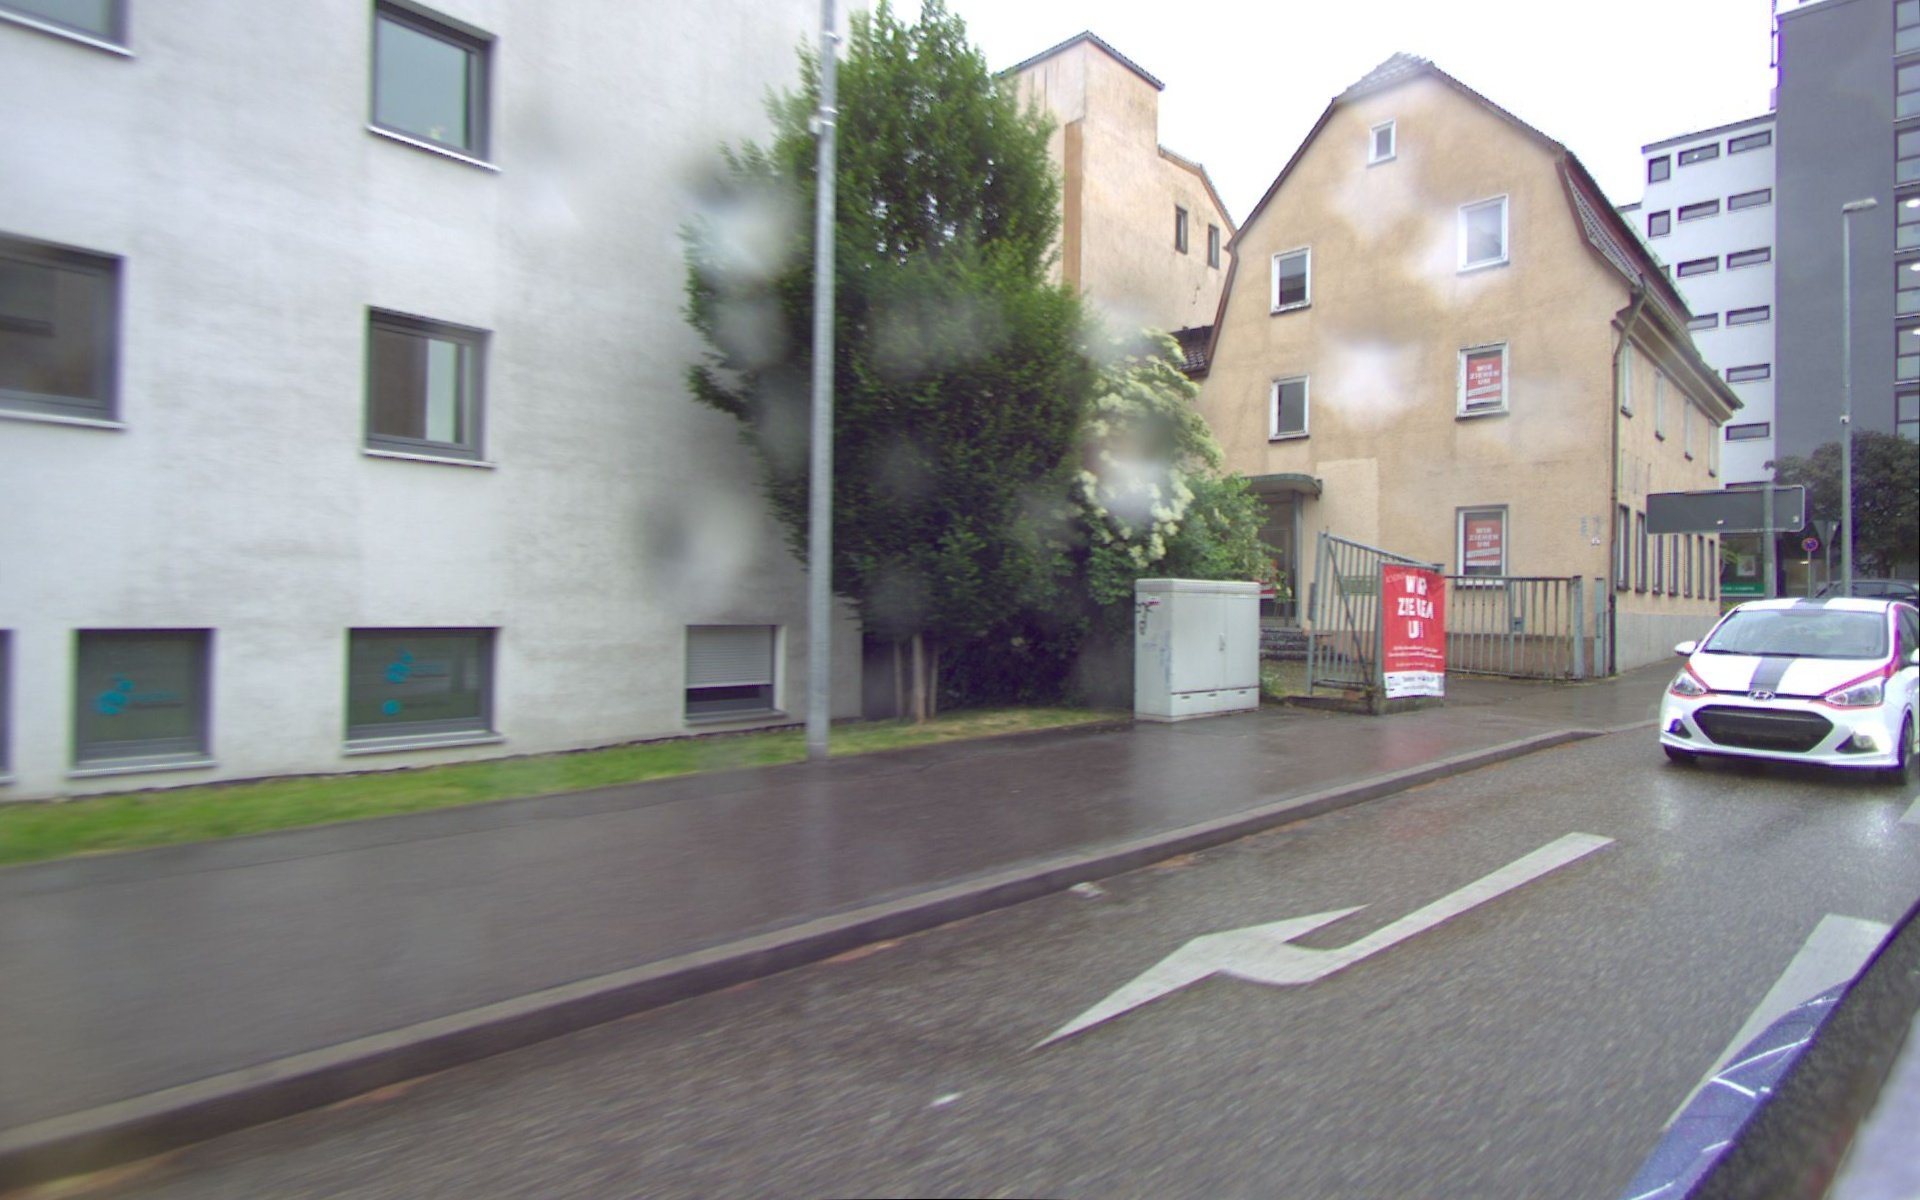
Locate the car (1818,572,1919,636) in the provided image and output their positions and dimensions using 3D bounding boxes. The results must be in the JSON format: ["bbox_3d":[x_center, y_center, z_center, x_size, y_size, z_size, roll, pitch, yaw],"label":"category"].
[{"bbox_3d":[25.656,0.104,26.656,1.683,1.592,4.430,-2,3,-18],"label":"car"}]

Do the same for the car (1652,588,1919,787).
[{"bbox_3d":[8.112,0.638,9.446,3.695,1.471,1.711,-1,1,-38],"label":"car"}]
